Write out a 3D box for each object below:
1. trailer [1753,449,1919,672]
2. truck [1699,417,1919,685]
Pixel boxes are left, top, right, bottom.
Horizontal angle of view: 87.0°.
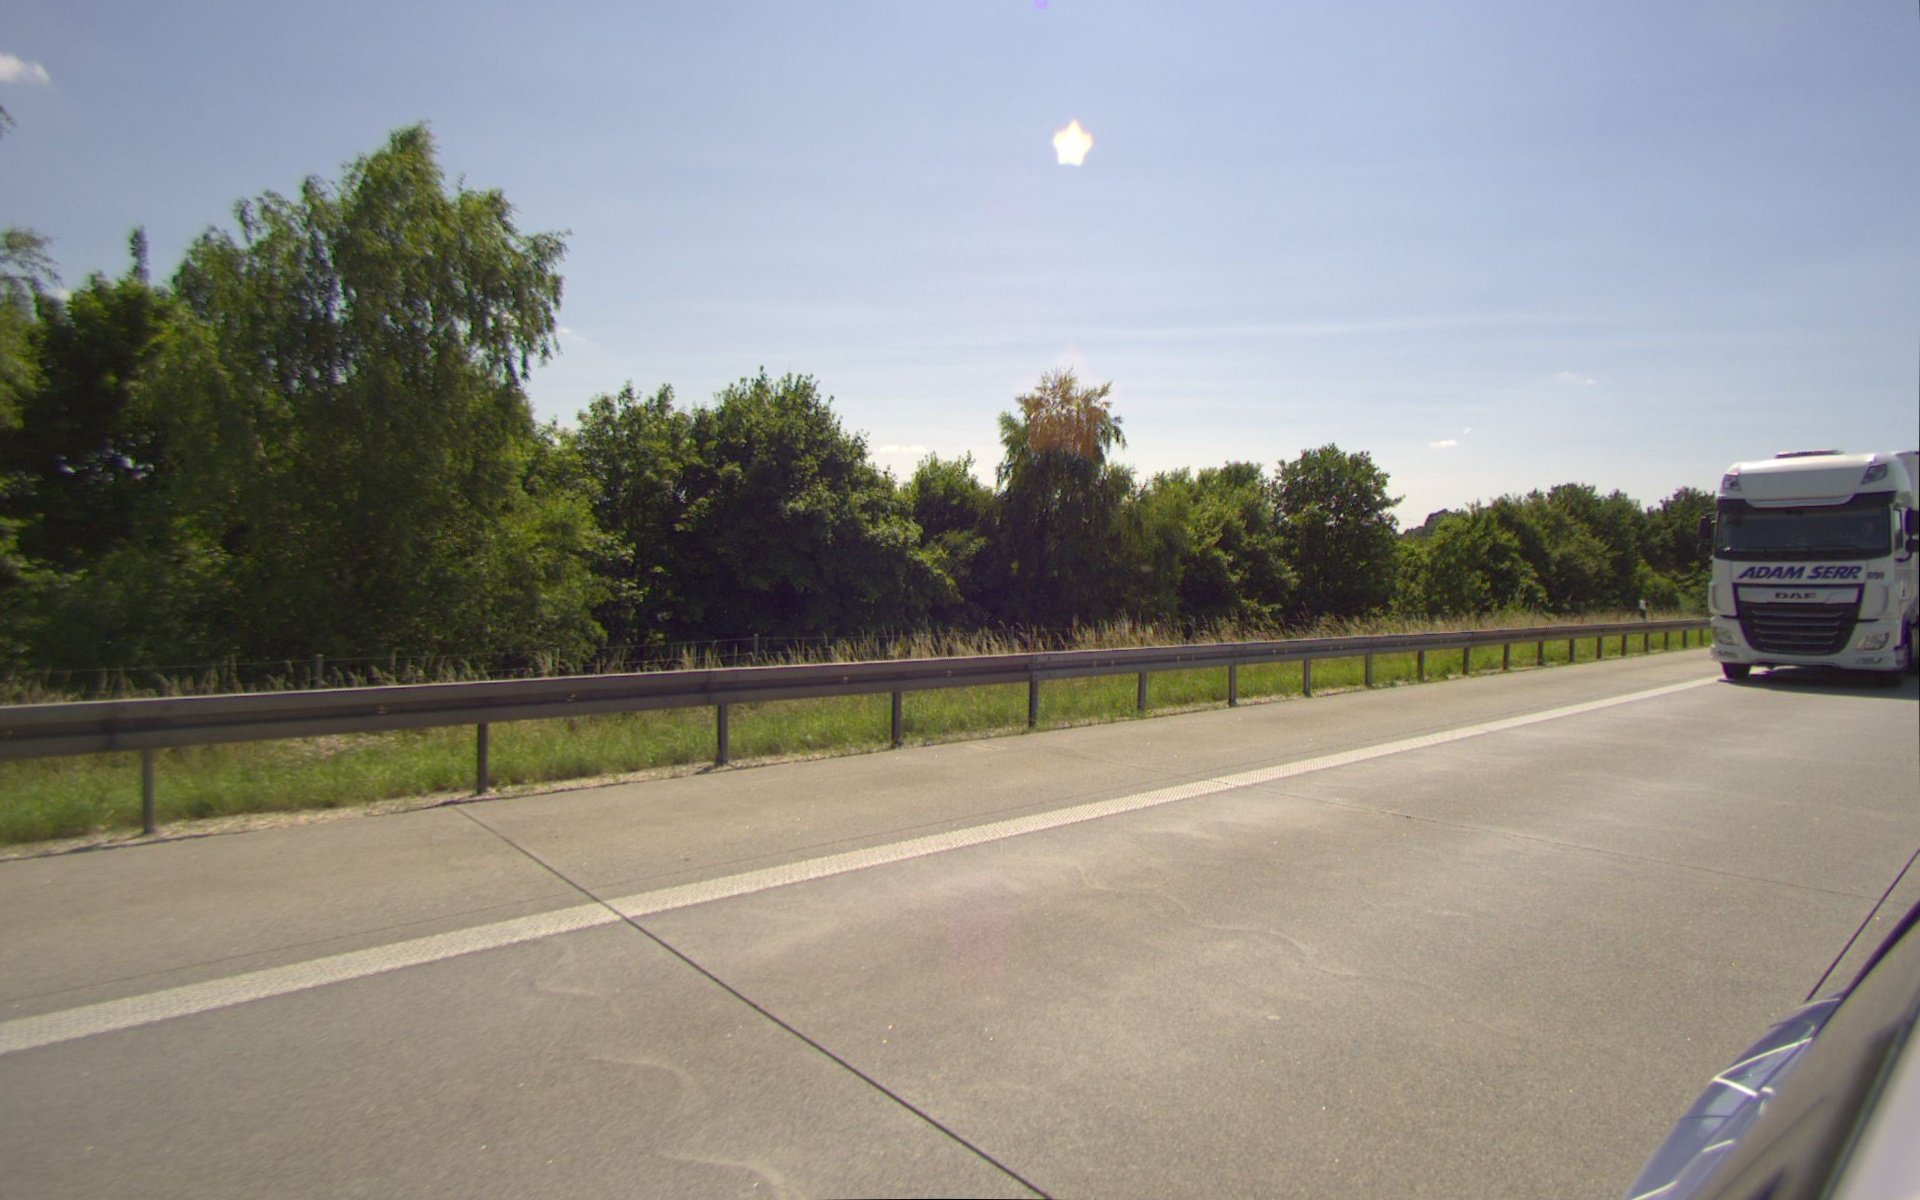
[{"bbox_3d":[21.627,-0.785,23.525,12.493,4.093,2.857,0,1,-42],"label":"trailer"},{"bbox_3d":[16.057,-0.795,18.557,5.696,4.139,2.817,0,1,-41],"label":"truck"}]
